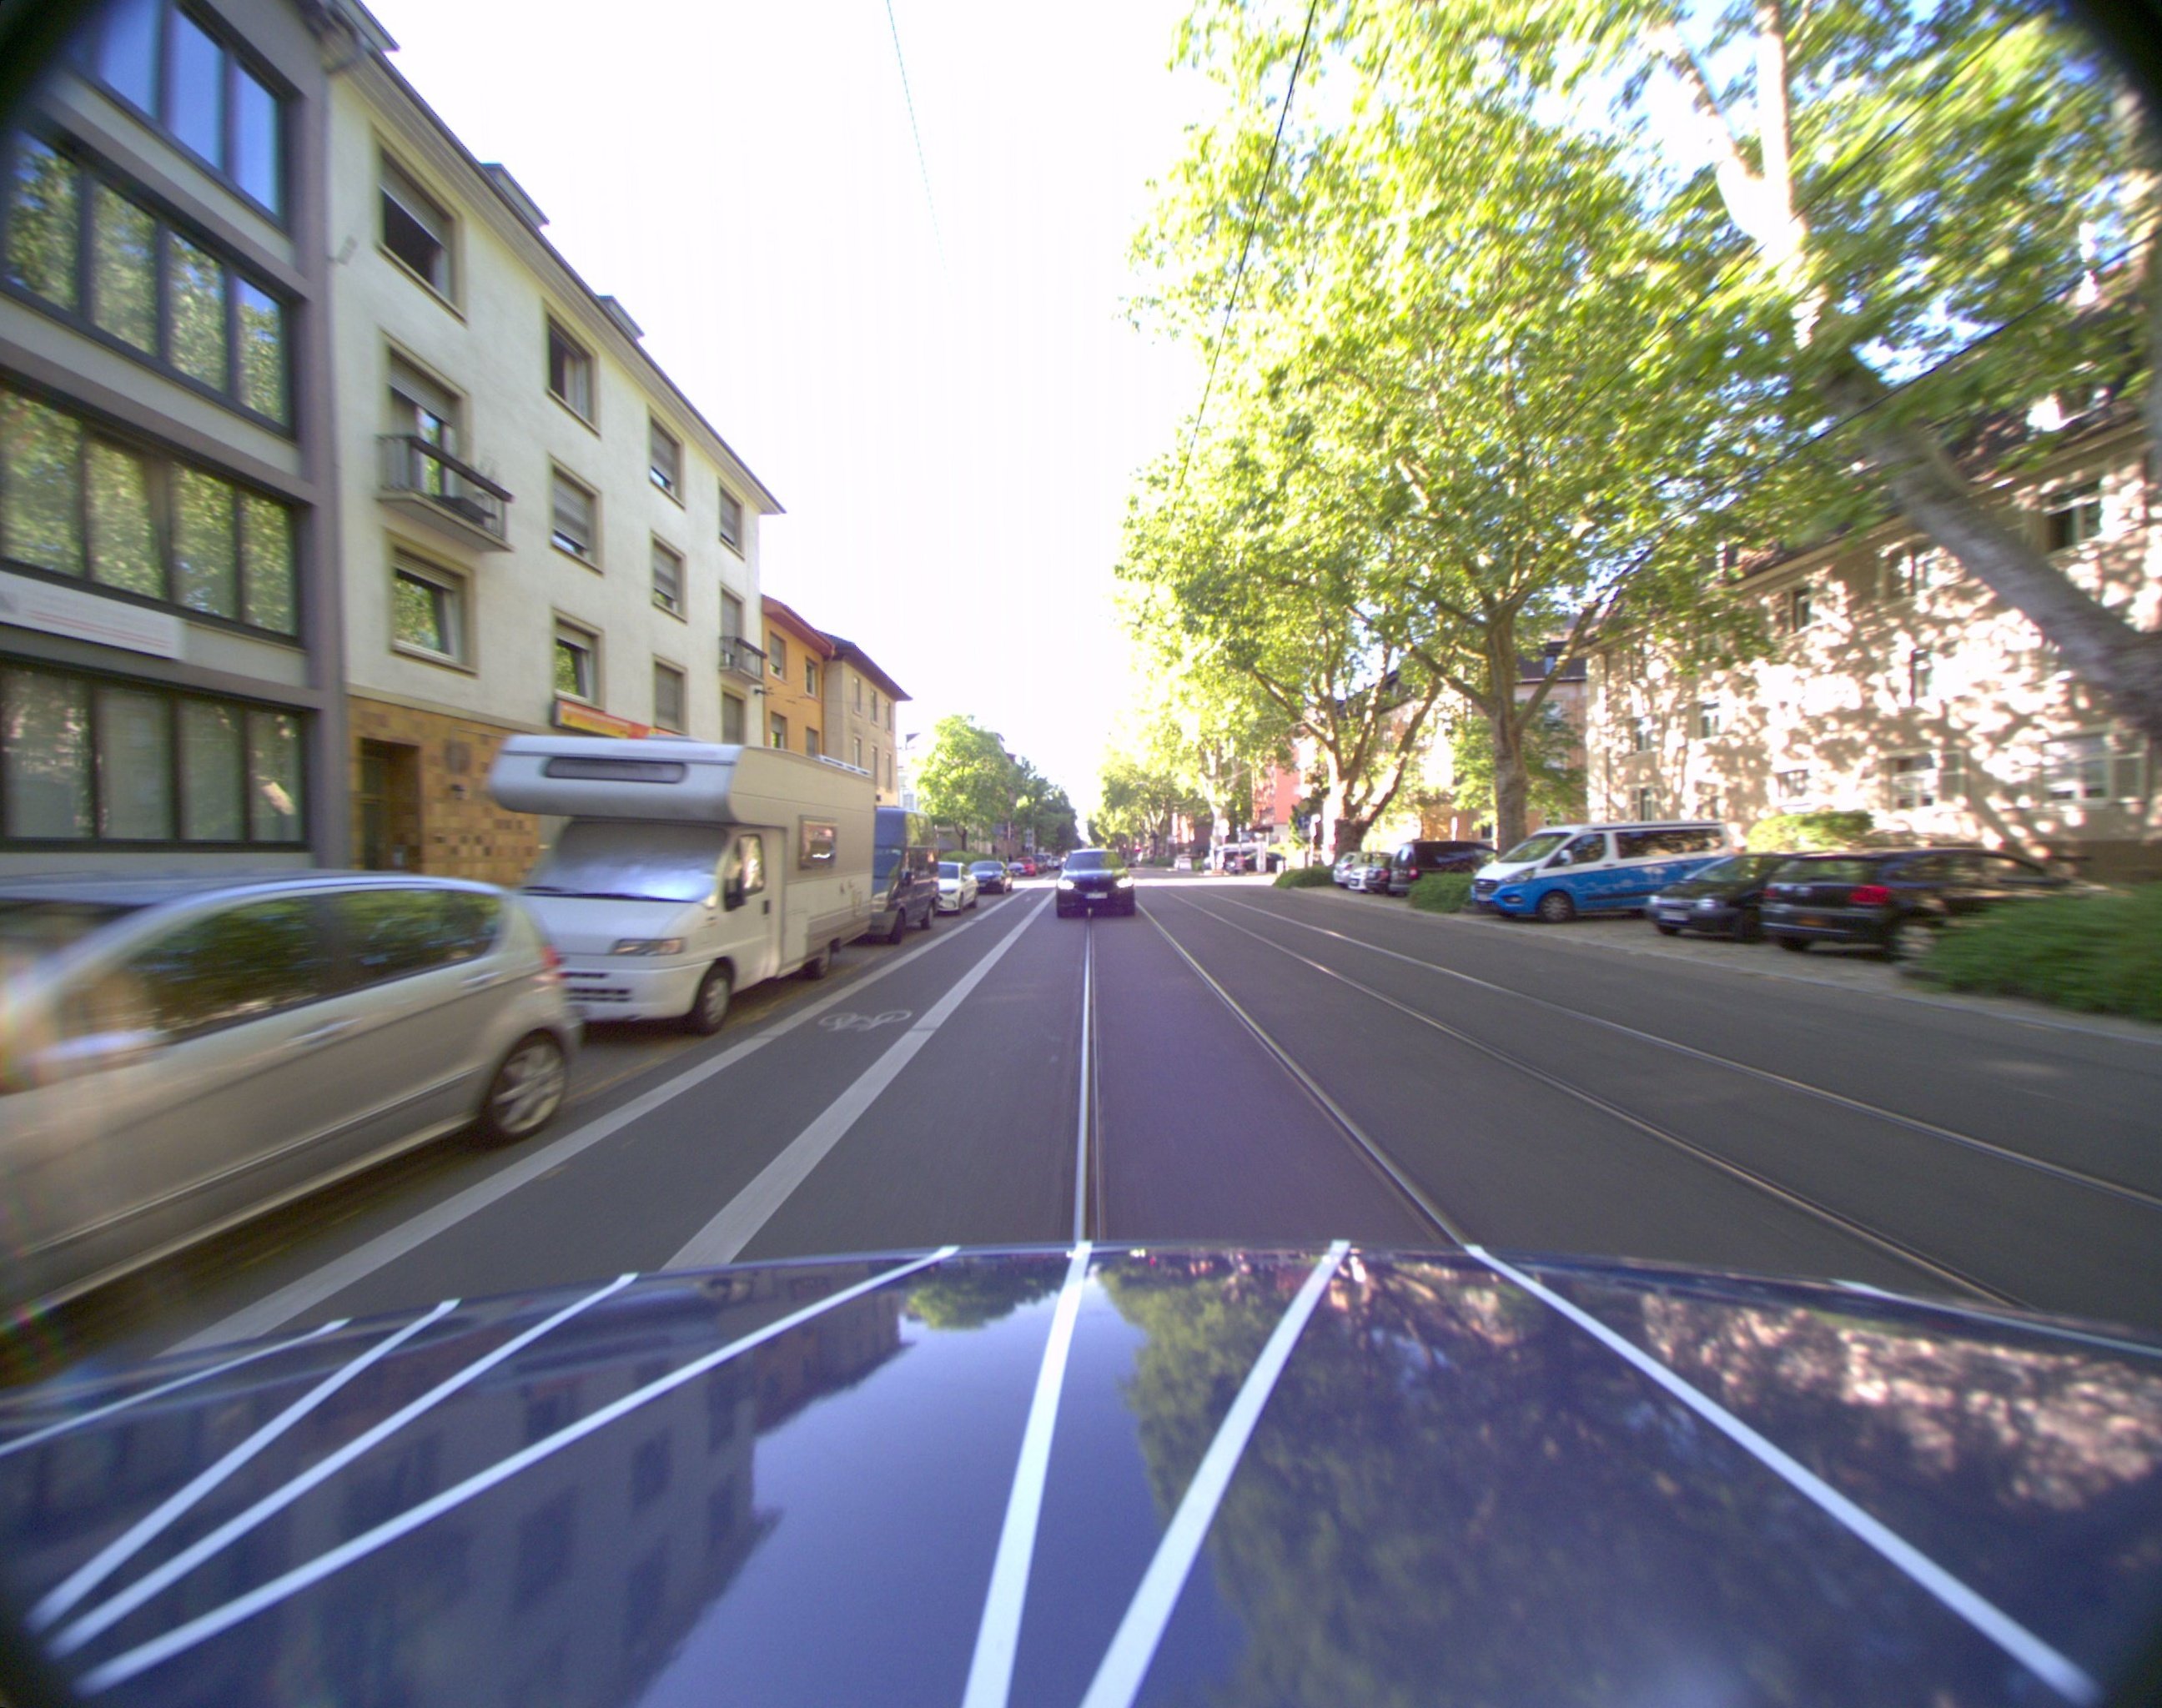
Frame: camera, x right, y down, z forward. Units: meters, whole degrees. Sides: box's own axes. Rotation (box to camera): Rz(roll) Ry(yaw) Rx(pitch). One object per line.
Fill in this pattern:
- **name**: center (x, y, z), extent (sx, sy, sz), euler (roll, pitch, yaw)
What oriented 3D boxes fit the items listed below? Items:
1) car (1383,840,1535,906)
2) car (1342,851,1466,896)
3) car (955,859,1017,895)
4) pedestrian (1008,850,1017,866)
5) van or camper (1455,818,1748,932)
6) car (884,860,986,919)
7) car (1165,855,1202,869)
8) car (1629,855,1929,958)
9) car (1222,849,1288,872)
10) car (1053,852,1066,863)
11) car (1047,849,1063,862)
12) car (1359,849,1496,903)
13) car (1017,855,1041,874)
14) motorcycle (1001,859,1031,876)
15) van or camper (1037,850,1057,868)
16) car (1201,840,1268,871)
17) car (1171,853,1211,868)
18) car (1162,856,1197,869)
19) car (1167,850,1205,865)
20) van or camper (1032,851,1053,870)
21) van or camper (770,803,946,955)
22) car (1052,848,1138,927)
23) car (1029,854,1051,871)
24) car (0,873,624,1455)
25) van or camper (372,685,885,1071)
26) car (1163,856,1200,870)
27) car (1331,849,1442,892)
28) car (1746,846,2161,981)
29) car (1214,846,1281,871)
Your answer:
- **car**: center (11.252, 0.539, 22.770), extent (3.691, 1.804, 1.704), euler (-1, 1, 0)
- **car**: center (11.542, 0.674, 27.263), extent (3.693, 1.477, 1.701), euler (-2, 1, -6)
- **car**: center (-4.017, 0.939, 32.886), extent (1.998, 1.372, 4.739), euler (1, 0, 1)
- **pedestrian**: center (-7.552, 0.429, 83.813), extent (0.813, 1.669, 0.885), euler (-1, 1, 1)
- **van or camper**: center (11.015, 0.414, 16.367), extent (4.832, 2.177, 2.119), euler (-1, 1, 0)
- **car**: center (-4.209, 0.958, 22.719), extent (1.998, 1.485, 4.740), euler (1, 0, 1)
- **car**: center (11.667, 0.911, 86.448), extent (3.966, 1.506, 1.810), euler (-1, 0, -1)
- **car**: center (11.328, 0.791, 12.473), extent (3.540, 1.451, 1.695), euler (-2, 1, -5)
- **car**: center (12.204, 0.449, 53.587), extent (4.170, 1.506, 1.925), euler (-1, 0, -1)
- **car**: center (-3.183, 0.509, 112.960), extent (1.781, 1.490, 4.372), euler (1, 0, 1)
- **car**: center (-3.356, 0.190, 98.524), extent (1.815, 1.702, 4.372), euler (1, 0, 1)
- **car**: center (11.375, 0.691, 25.121), extent (3.692, 1.615, 1.799), euler (-1, 1, -4)
- **car**: center (-4.013, 0.799, 59.092), extent (1.607, 1.372, 3.864), euler (1, 0, 1)
- **motorcycle**: center (-4.724, 0.954, 55.558), extent (2.071, 1.152, 0.828), euler (2, 1, 5)
- **van or camper**: center (-3.648, 0.552, 82.985), extent (1.882, 1.873, 4.923), euler (1, 0, 1)
- **car**: center (12.527, 0.108, 62.121), extent (5.019, 2.383, 2.028), euler (-1, 0, -1)
- **car**: center (11.736, 0.704, 80.981), extent (3.966, 1.506, 1.810), euler (-1, 0, -1)
- **car**: center (11.780, 1.015, 91.029), extent (3.966, 1.506, 1.810), euler (-1, 0, -1)
- **car**: center (11.659, 0.415, 84.430), extent (3.966, 1.506, 1.810), euler (-1, 0, -1)
- **van or camper**: center (-3.689, 0.570, 73.104), extent (1.694, 1.772, 4.443), euler (1, 0, 1)
- **van or camper**: center (-4.375, 0.428, 15.896), extent (2.137, 2.647, 4.979), euler (1, 0, 1)
- **car**: center (0.355, 0.749, 19.736), extent (1.924, 1.741, 4.806), euler (-1, 0, 1)
- **car**: center (-3.682, 0.724, 68.341), extent (1.694, 1.478, 4.143), euler (1, 0, 1)
- **car**: center (-4.108, 0.969, 3.142), extent (1.797, 1.619, 4.276), euler (1, 0, 1)
- **van or camper**: center (-4.434, 0.185, 9.210), extent (2.468, 3.046, 6.267), euler (1, 0, 0)
- **car**: center (11.684, 1.007, 88.639), extent (3.966, 1.506, 1.810), euler (-1, 0, -1)
- **car**: center (11.878, 0.618, 29.702), extent (3.689, 1.545, 1.704), euler (-1, 1, 7)
- **car**: center (11.327, 0.725, 9.992), extent (3.690, 1.556, 1.613), euler (-1, 1, 2)
- **car**: center (12.280, 0.328, 56.238), extent (4.464, 1.755, 2.028), euler (-1, 0, -1)
